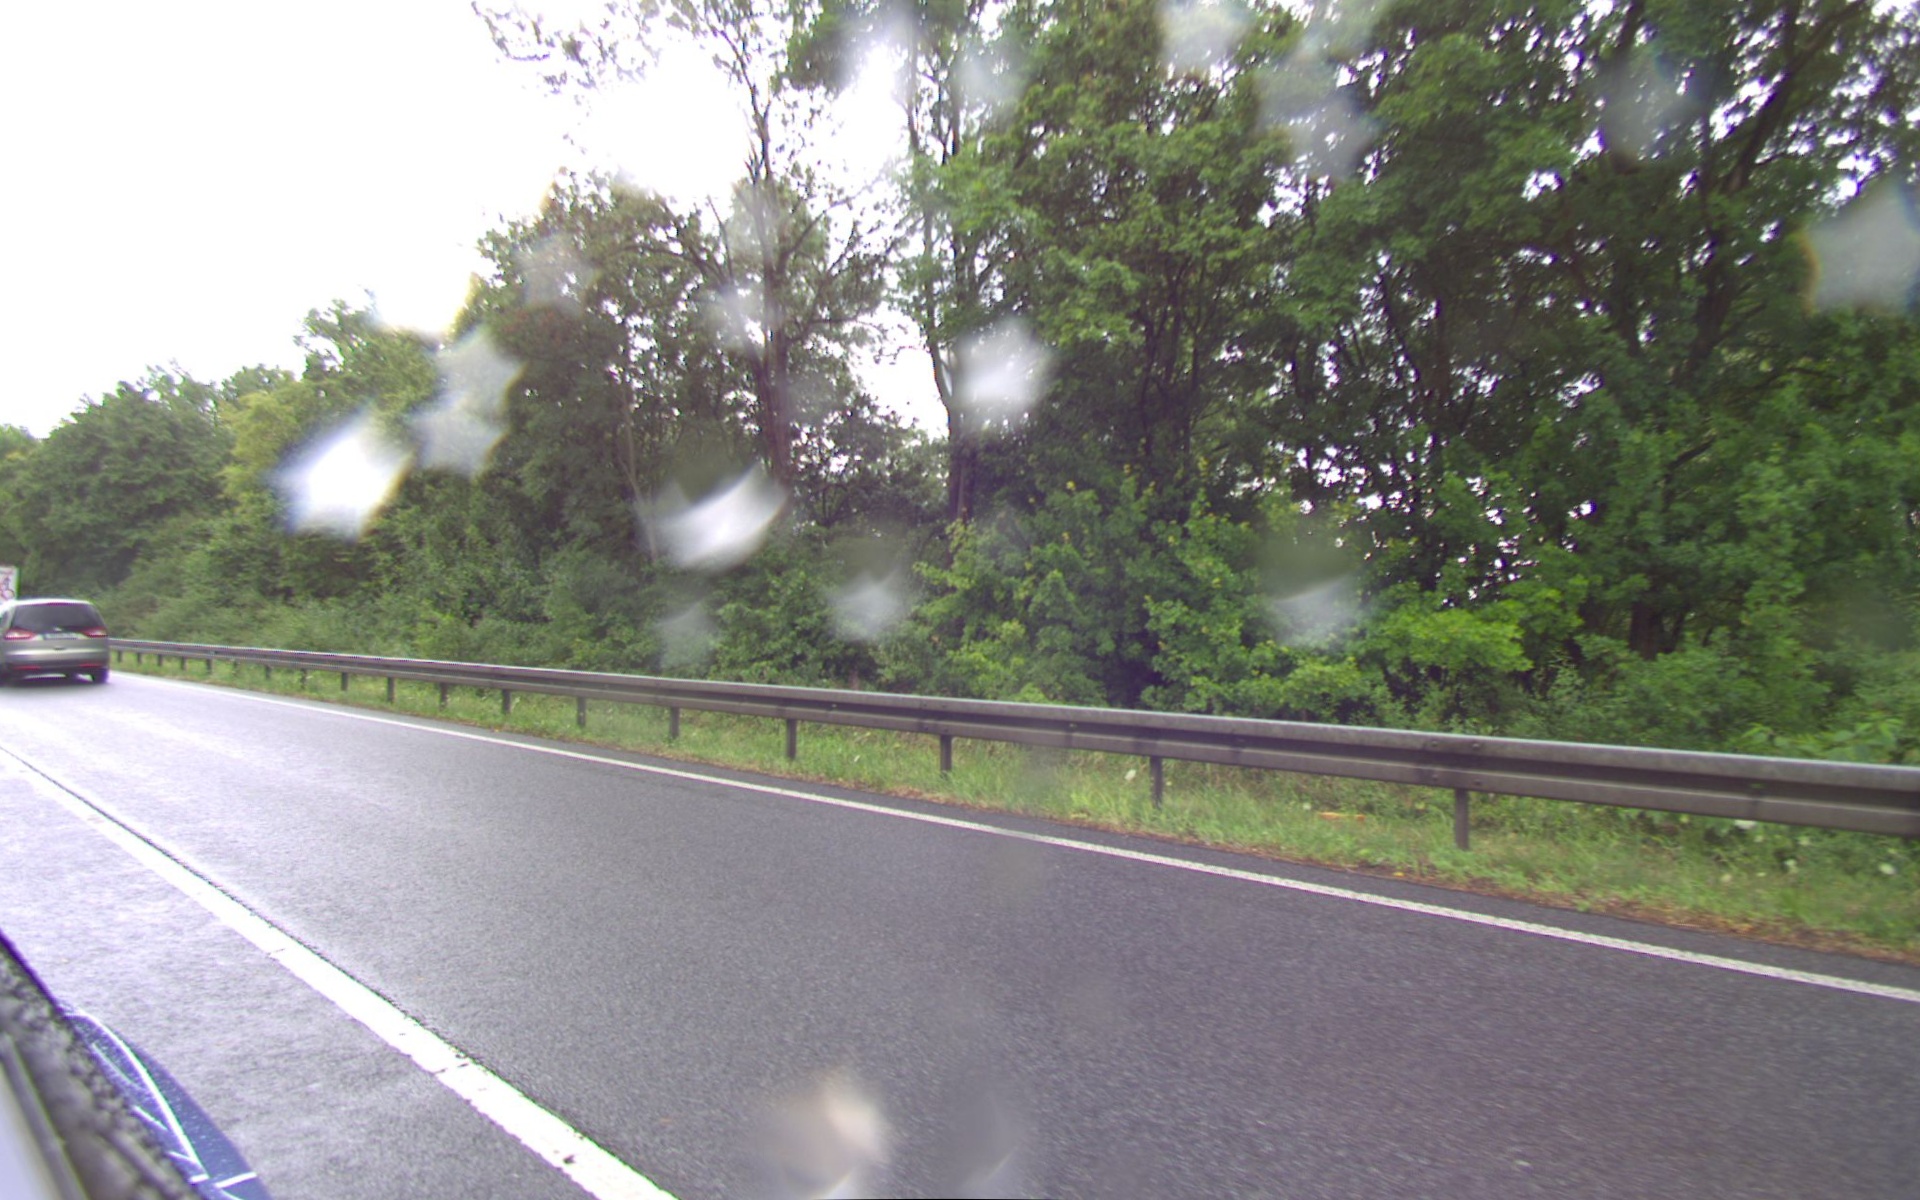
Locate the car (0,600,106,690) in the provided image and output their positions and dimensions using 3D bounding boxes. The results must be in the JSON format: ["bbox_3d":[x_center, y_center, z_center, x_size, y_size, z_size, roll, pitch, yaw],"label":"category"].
[{"bbox_3d":[-19.637,0.860,21.362,4.620,1.699,1.796,0,0,41],"label":"car"}]
